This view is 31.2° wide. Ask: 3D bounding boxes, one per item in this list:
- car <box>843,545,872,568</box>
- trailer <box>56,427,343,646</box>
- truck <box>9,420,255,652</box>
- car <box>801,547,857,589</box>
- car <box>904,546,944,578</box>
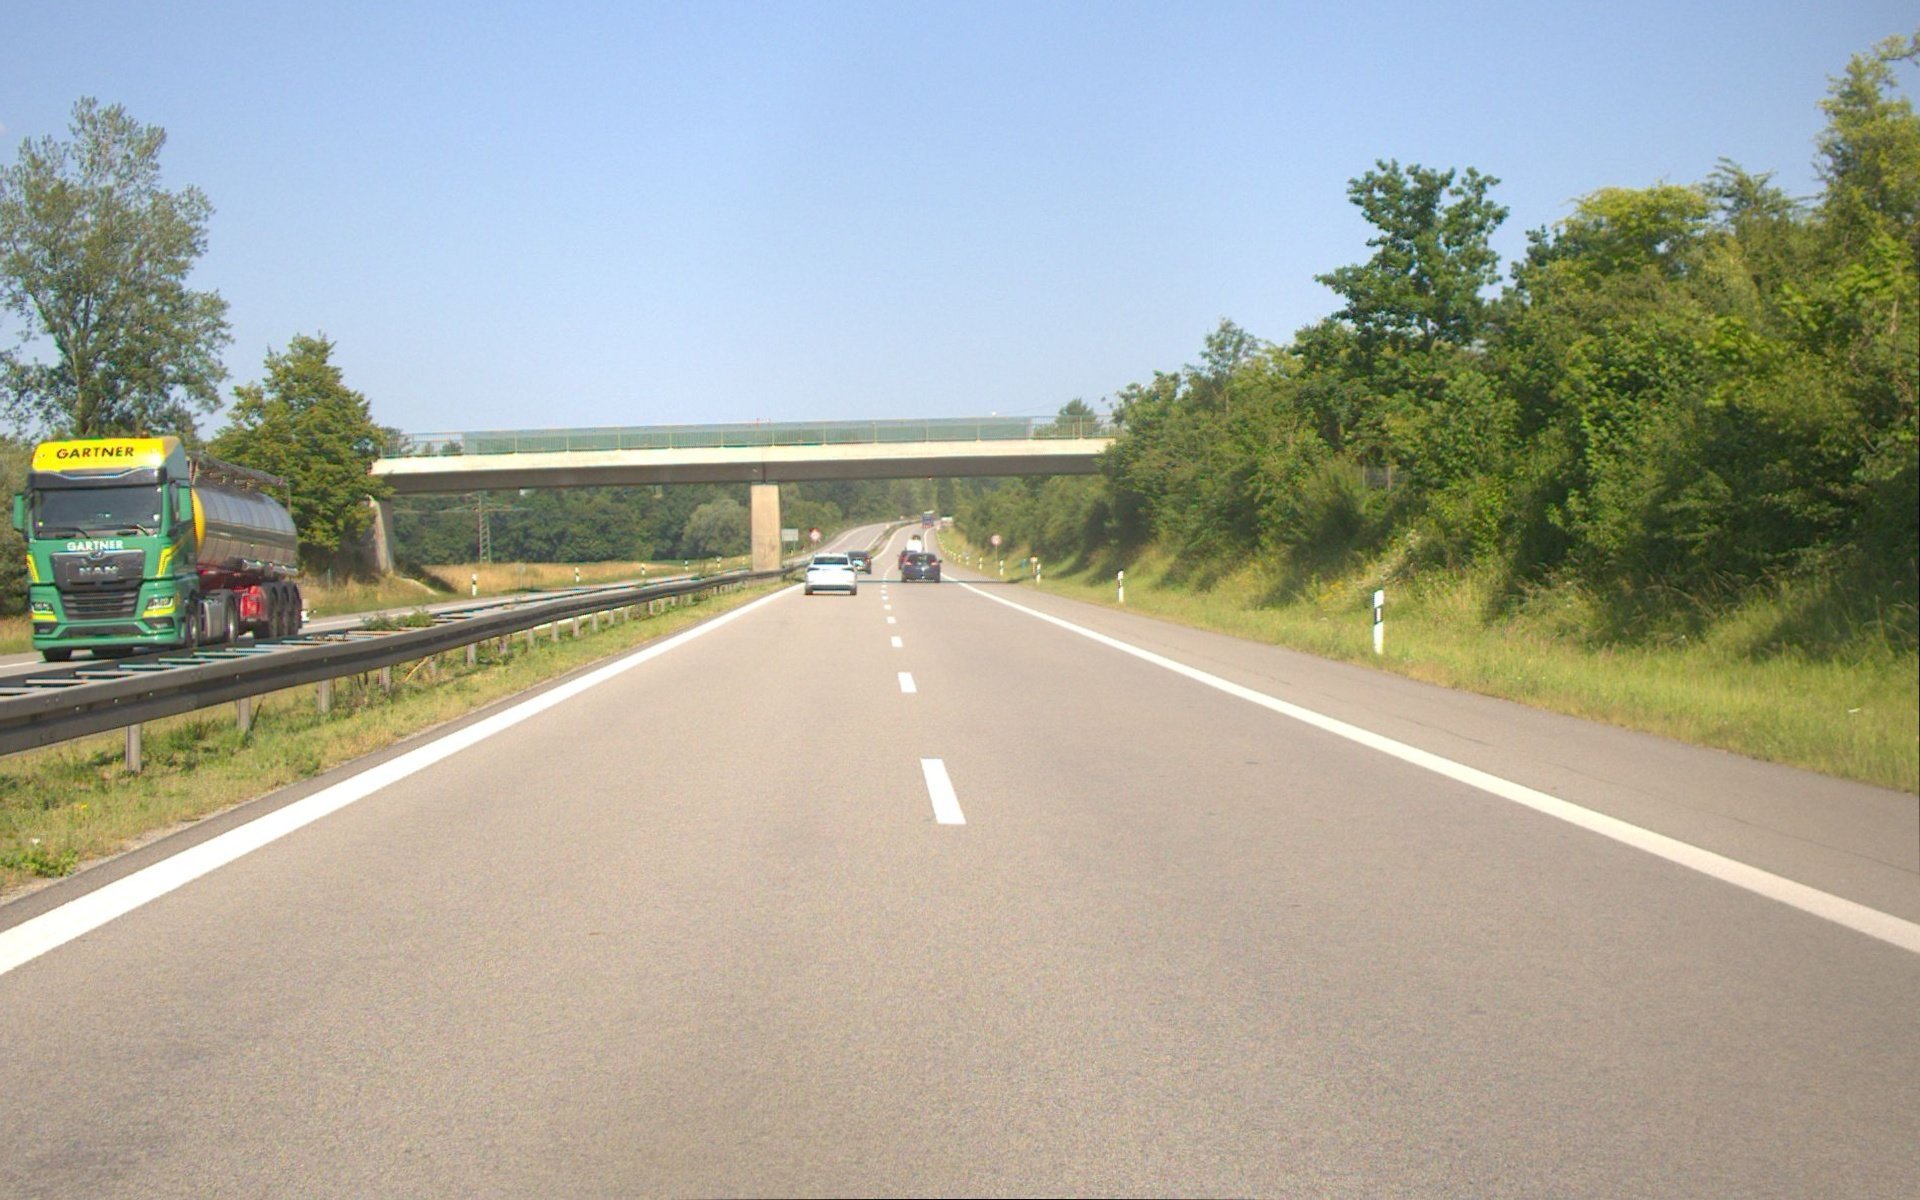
[{"bbox_3d":[-6.585,-2.821,221.860,1.843,1.431,4.000,1,1,-2],"label":"car"},{"bbox_3d":[-14.346,-1.183,66.033,2.980,3.718,12.421,-2,1,-2],"label":"trailer"},{"bbox_3d":[-14.174,-1.087,59.260,2.955,3.718,5.569,-2,1,-2],"label":"truck"},{"bbox_3d":[-4.478,-1.102,117.974,1.843,1.411,4.000,1,1,-2],"label":"car"},{"bbox_3d":[-1.721,-1.825,164.368,1.843,1.515,4.000,1,1,-2],"label":"car"}]
